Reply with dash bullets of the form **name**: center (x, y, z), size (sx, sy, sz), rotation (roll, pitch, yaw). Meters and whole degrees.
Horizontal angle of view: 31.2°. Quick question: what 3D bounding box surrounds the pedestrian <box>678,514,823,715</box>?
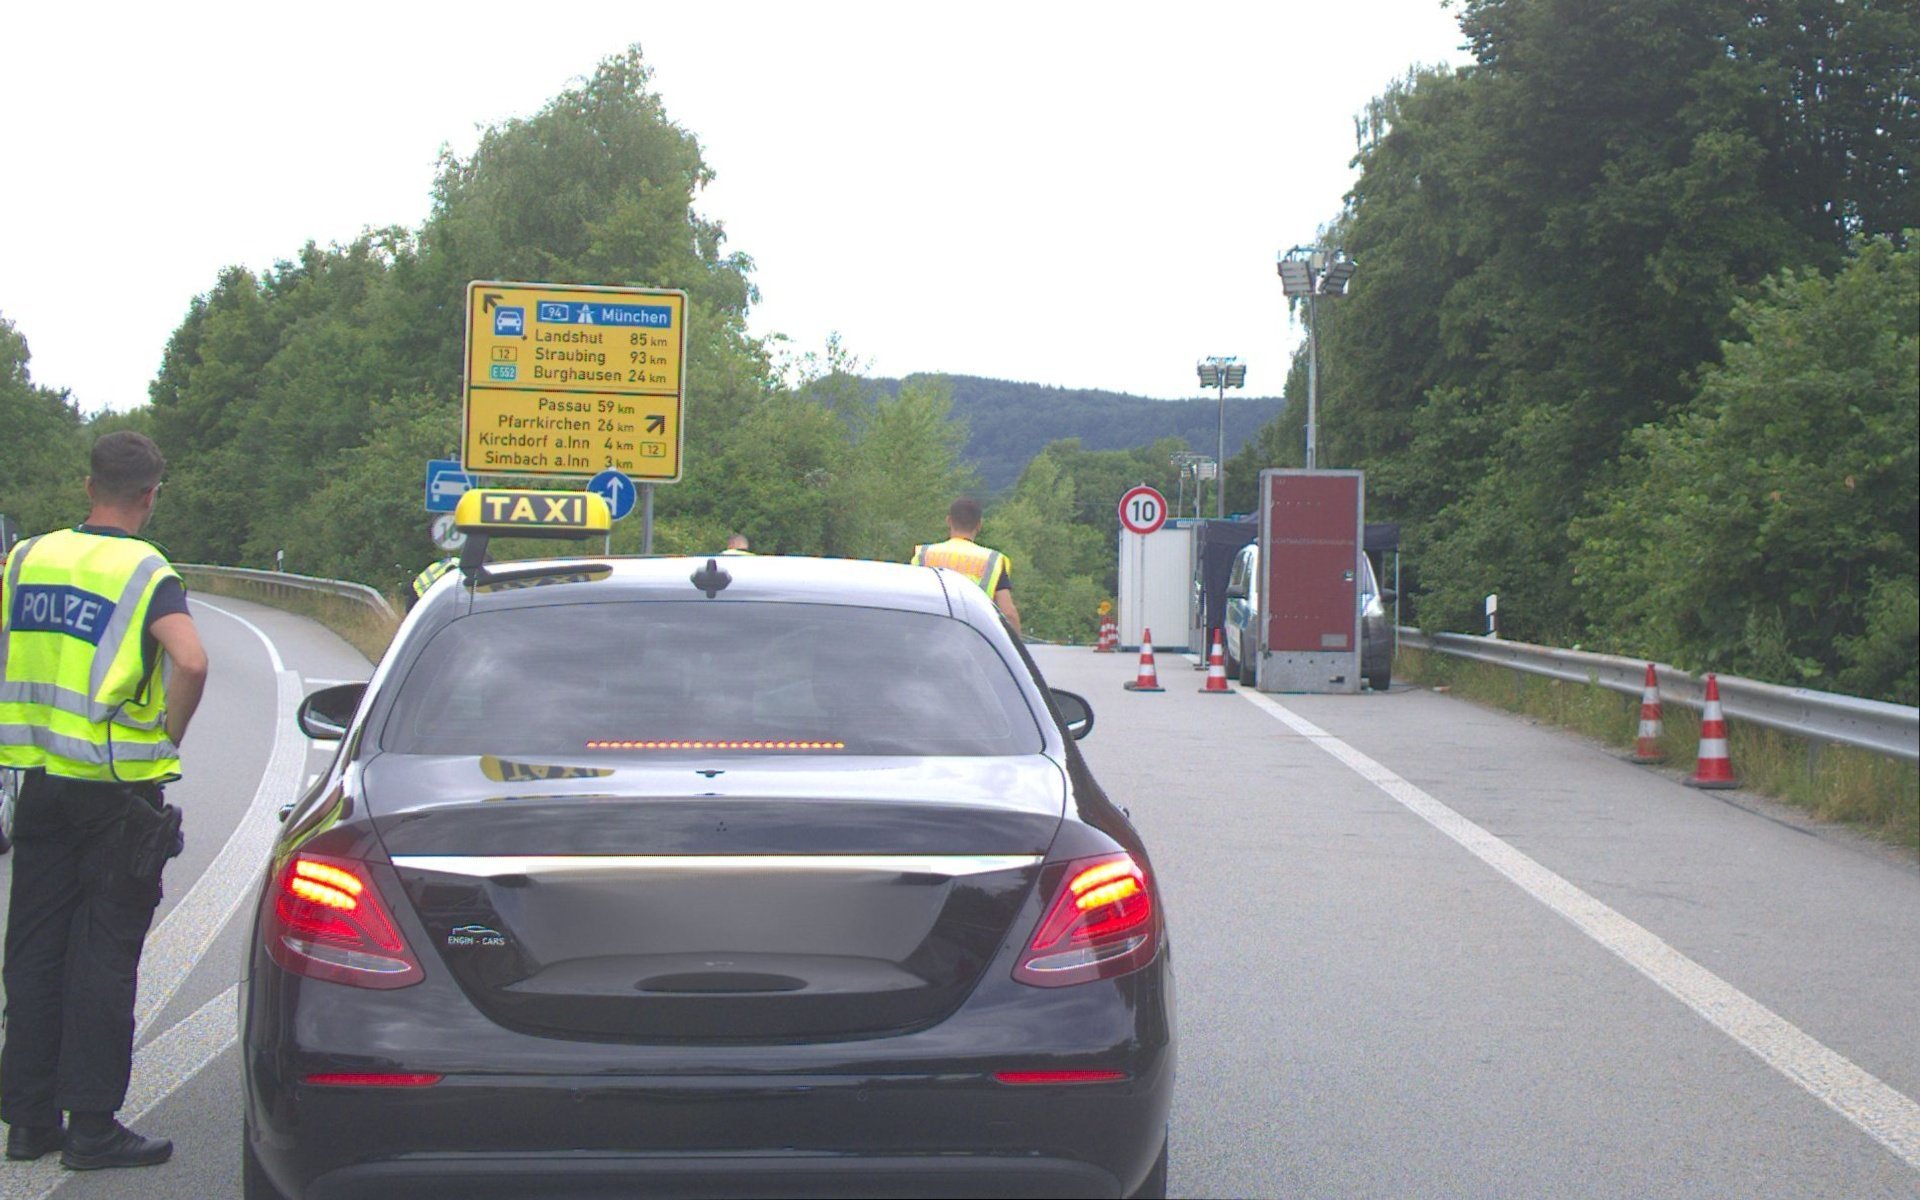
- **pedestrian**: center (-1.806, 0.115, 29.578), size (0.908, 1.692, 0.914), rotation (0, 0, -32)

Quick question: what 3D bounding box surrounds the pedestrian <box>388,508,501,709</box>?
- **pedestrian**: center (-4.593, 0.067, 30.679), size (0.910, 1.763, 0.912), rotation (1, 1, -3)

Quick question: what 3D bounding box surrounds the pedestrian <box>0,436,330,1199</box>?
- **pedestrian**: center (-2.042, 0.490, 8.057), size (0.761, 1.712, 0.816), rotation (1, 1, 37)

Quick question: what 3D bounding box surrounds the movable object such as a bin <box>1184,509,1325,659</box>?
- **movable object such as a bin**: center (4.637, -0.271, 54.669), size (1.993, 2.272, 4.168), rotation (1, 1, 2)

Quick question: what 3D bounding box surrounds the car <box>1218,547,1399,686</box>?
- **car**: center (4.577, 0.163, 45.830), size (1.916, 1.672, 5.083), rotation (2, 1, 1)

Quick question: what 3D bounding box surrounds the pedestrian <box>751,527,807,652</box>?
- **pedestrian**: center (-2.849, -0.164, 54.173), size (0.664, 1.954, 0.759), rotation (0, 1, 15)

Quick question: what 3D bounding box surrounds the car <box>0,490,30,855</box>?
- **car**: center (-5.401, 0.362, 15.020), size (1.868, 1.737, 4.009), rotation (0, 1, -4)

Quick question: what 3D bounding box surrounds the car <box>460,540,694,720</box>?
- **car**: center (-3.359, 0.213, 30.816), size (1.855, 1.493, 4.257), rotation (0, 1, -3)

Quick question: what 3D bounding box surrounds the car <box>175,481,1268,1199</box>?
- **car**: center (-0.596, 0.563, 8.049), size (1.855, 1.589, 4.376), rotation (0, 1, -5)

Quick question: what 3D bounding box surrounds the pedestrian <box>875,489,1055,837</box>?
- **pedestrian**: center (0.036, 0.323, 18.468), size (0.813, 1.824, 0.809), rotation (0, 1, 12)
